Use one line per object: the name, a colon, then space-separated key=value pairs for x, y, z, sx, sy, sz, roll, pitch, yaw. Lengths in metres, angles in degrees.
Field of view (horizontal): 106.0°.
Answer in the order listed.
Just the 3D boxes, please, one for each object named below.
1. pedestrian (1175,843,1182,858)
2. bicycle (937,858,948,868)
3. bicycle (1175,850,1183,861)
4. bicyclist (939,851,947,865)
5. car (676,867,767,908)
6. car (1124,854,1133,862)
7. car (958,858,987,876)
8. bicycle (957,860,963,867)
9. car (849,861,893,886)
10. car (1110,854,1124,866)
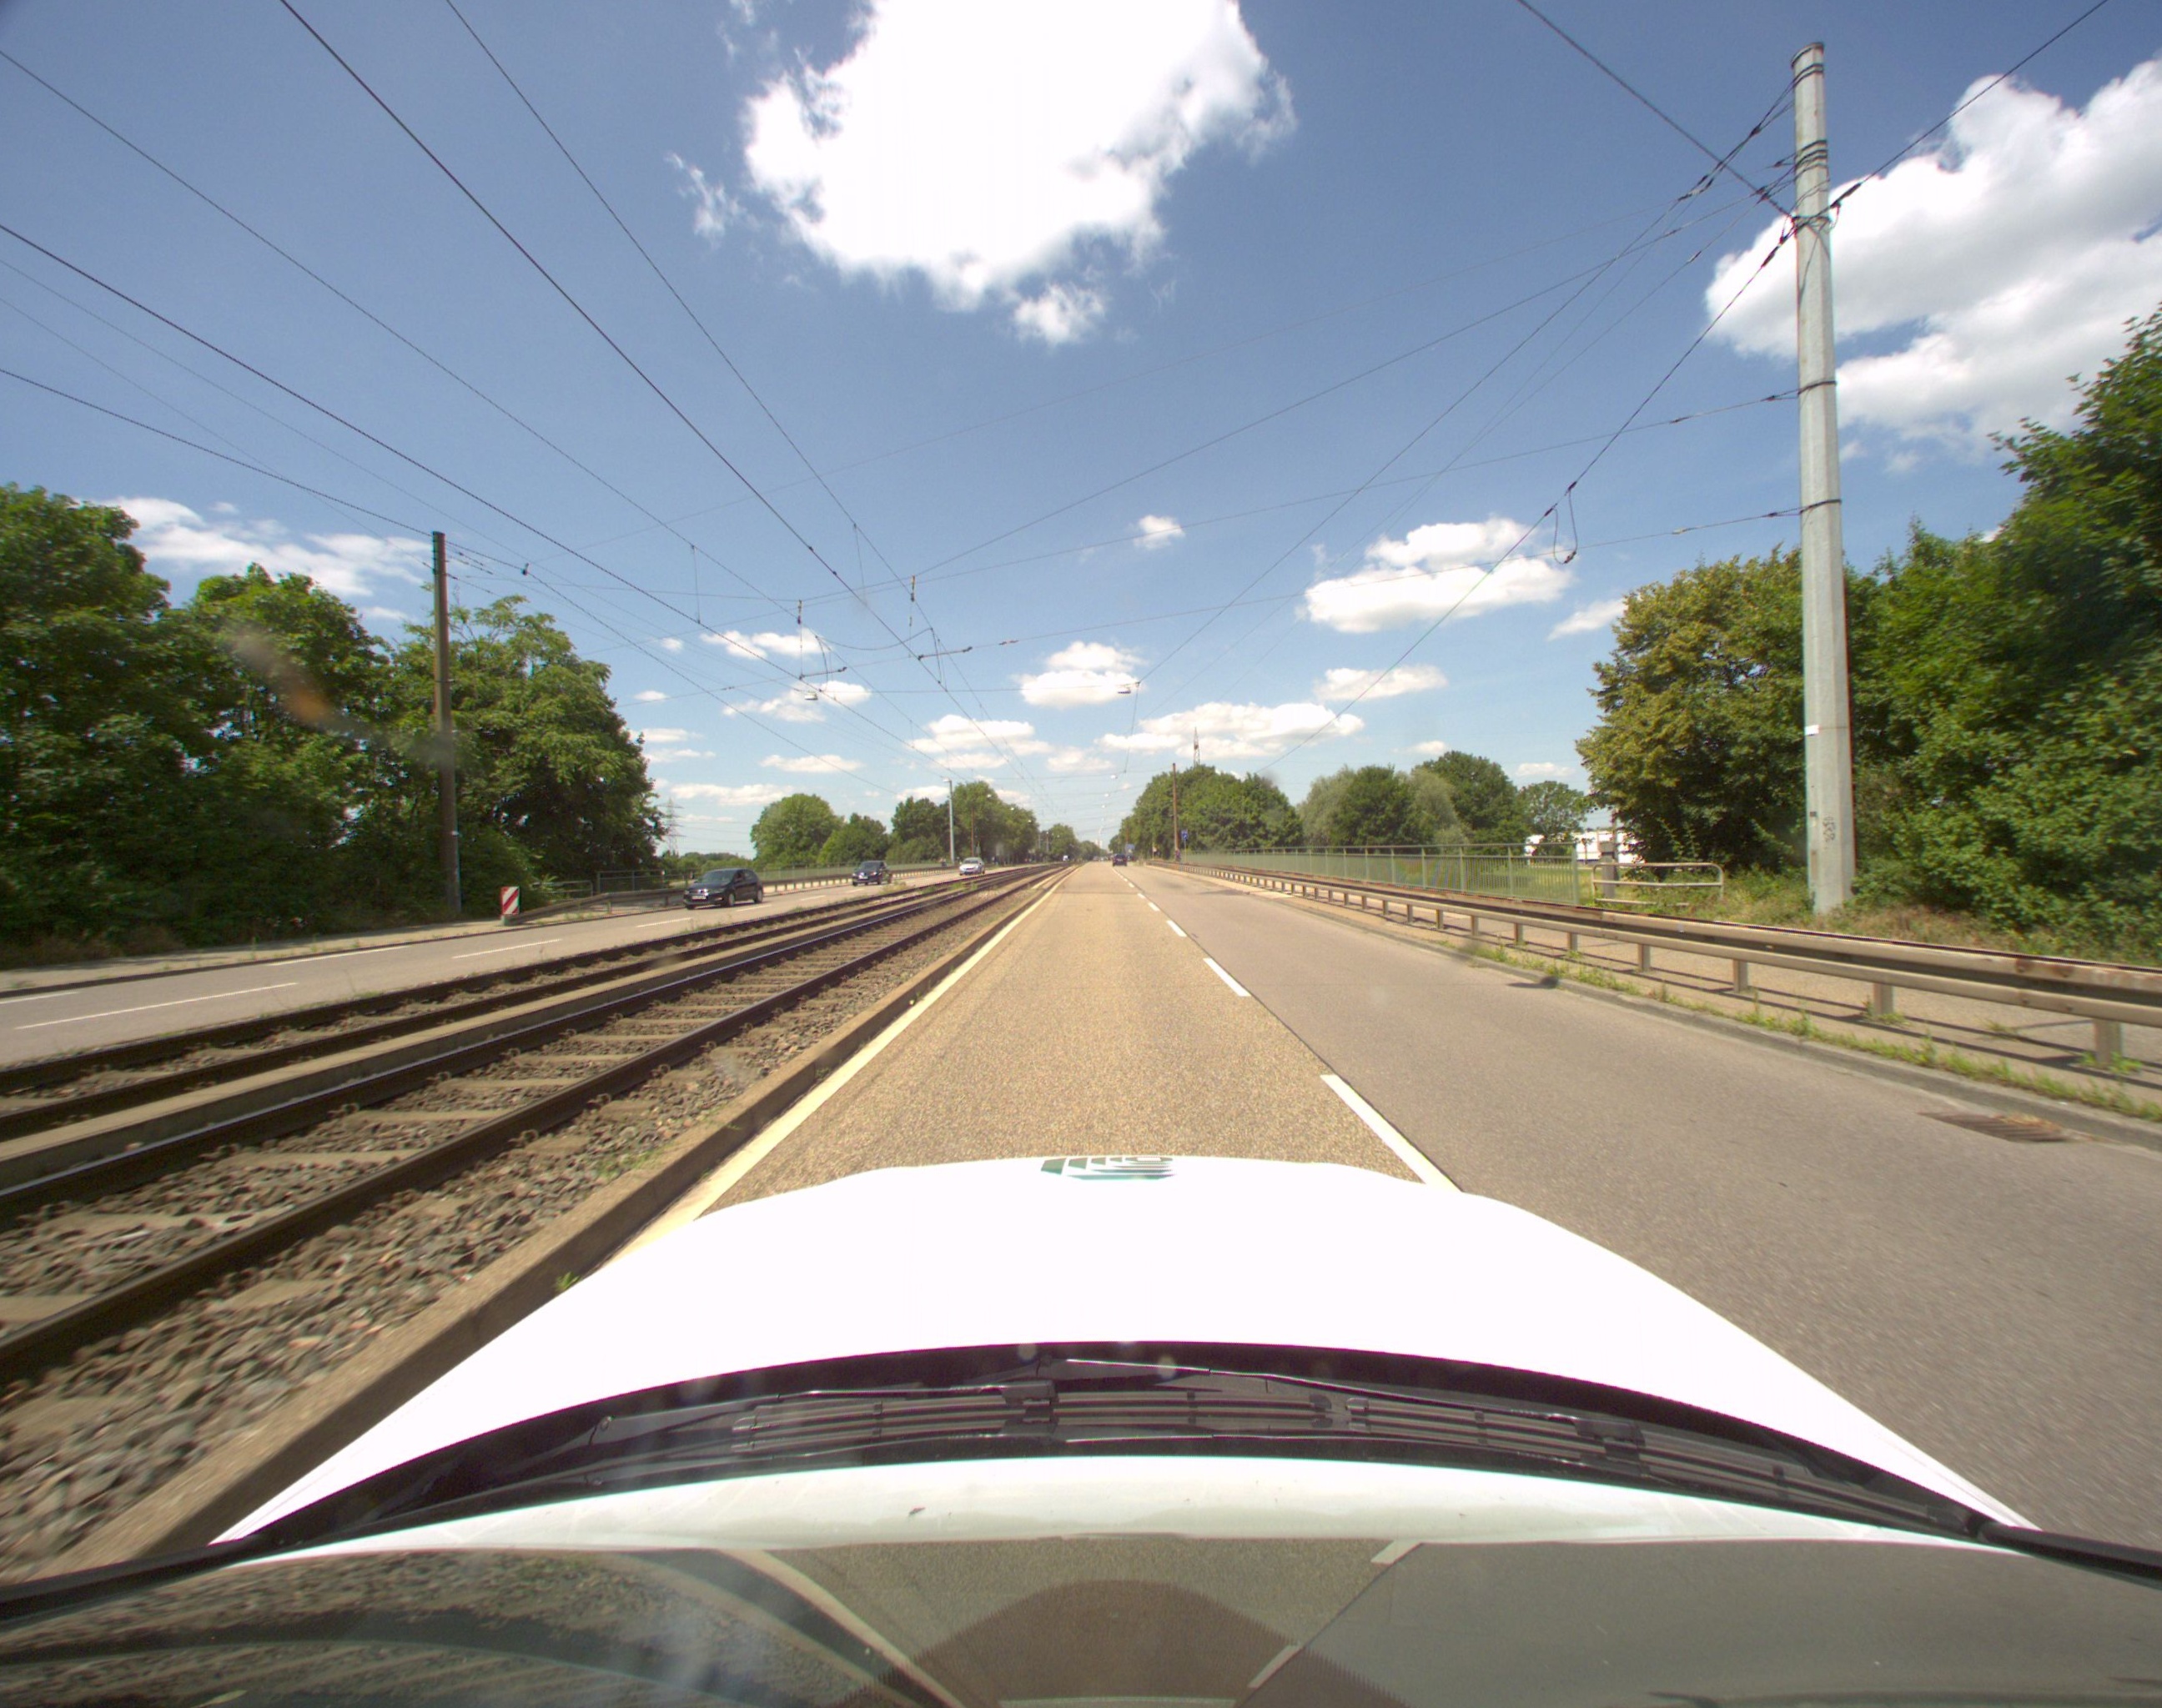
pedestrian: x=9.677 y=-0.349 z=80.815 sx=0.625 sy=1.374 sz=1.051 roll=-2 pitch=-1 yaw=1
bicycle: x=-16.184 y=1.020 z=95.346 sx=0.854 sy=1.185 sz=2.062 roll=-1 pitch=0 yaw=0
bicycle: x=9.699 y=0.131 z=80.742 sx=0.557 sy=1.024 sz=1.848 roll=-2 pitch=-1 yaw=1
bicyclist: x=-16.169 y=0.514 z=95.415 sx=0.760 sy=1.622 sz=0.838 roll=-1 pitch=-1 yaw=0
car: x=-13.568 y=1.228 z=30.964 sx=1.557 sy=1.347 sz=3.930 roll=-3 pitch=0 yaw=1
car: x=11.364 y=1.012 z=194.156 sx=1.986 sy=1.970 sz=4.001 roll=-1 pitch=0 yaw=2
car: x=-9.190 y=1.092 z=69.472 sx=1.705 sy=1.420 sz=4.625 roll=-3 pitch=0 yaw=1
bicycle: x=-15.880 y=1.240 z=106.687 sx=0.521 sy=0.843 sz=2.035 roll=0 pitch=0 yaw=-1
car: x=-12.683 y=1.169 z=49.399 sx=1.569 sy=1.400 sz=3.938 roll=-2 pitch=0 yaw=1
car: x=4.433 y=0.748 z=101.121 sx=1.581 sy=1.343 sz=3.271 roll=-2 pitch=0 yaw=0
